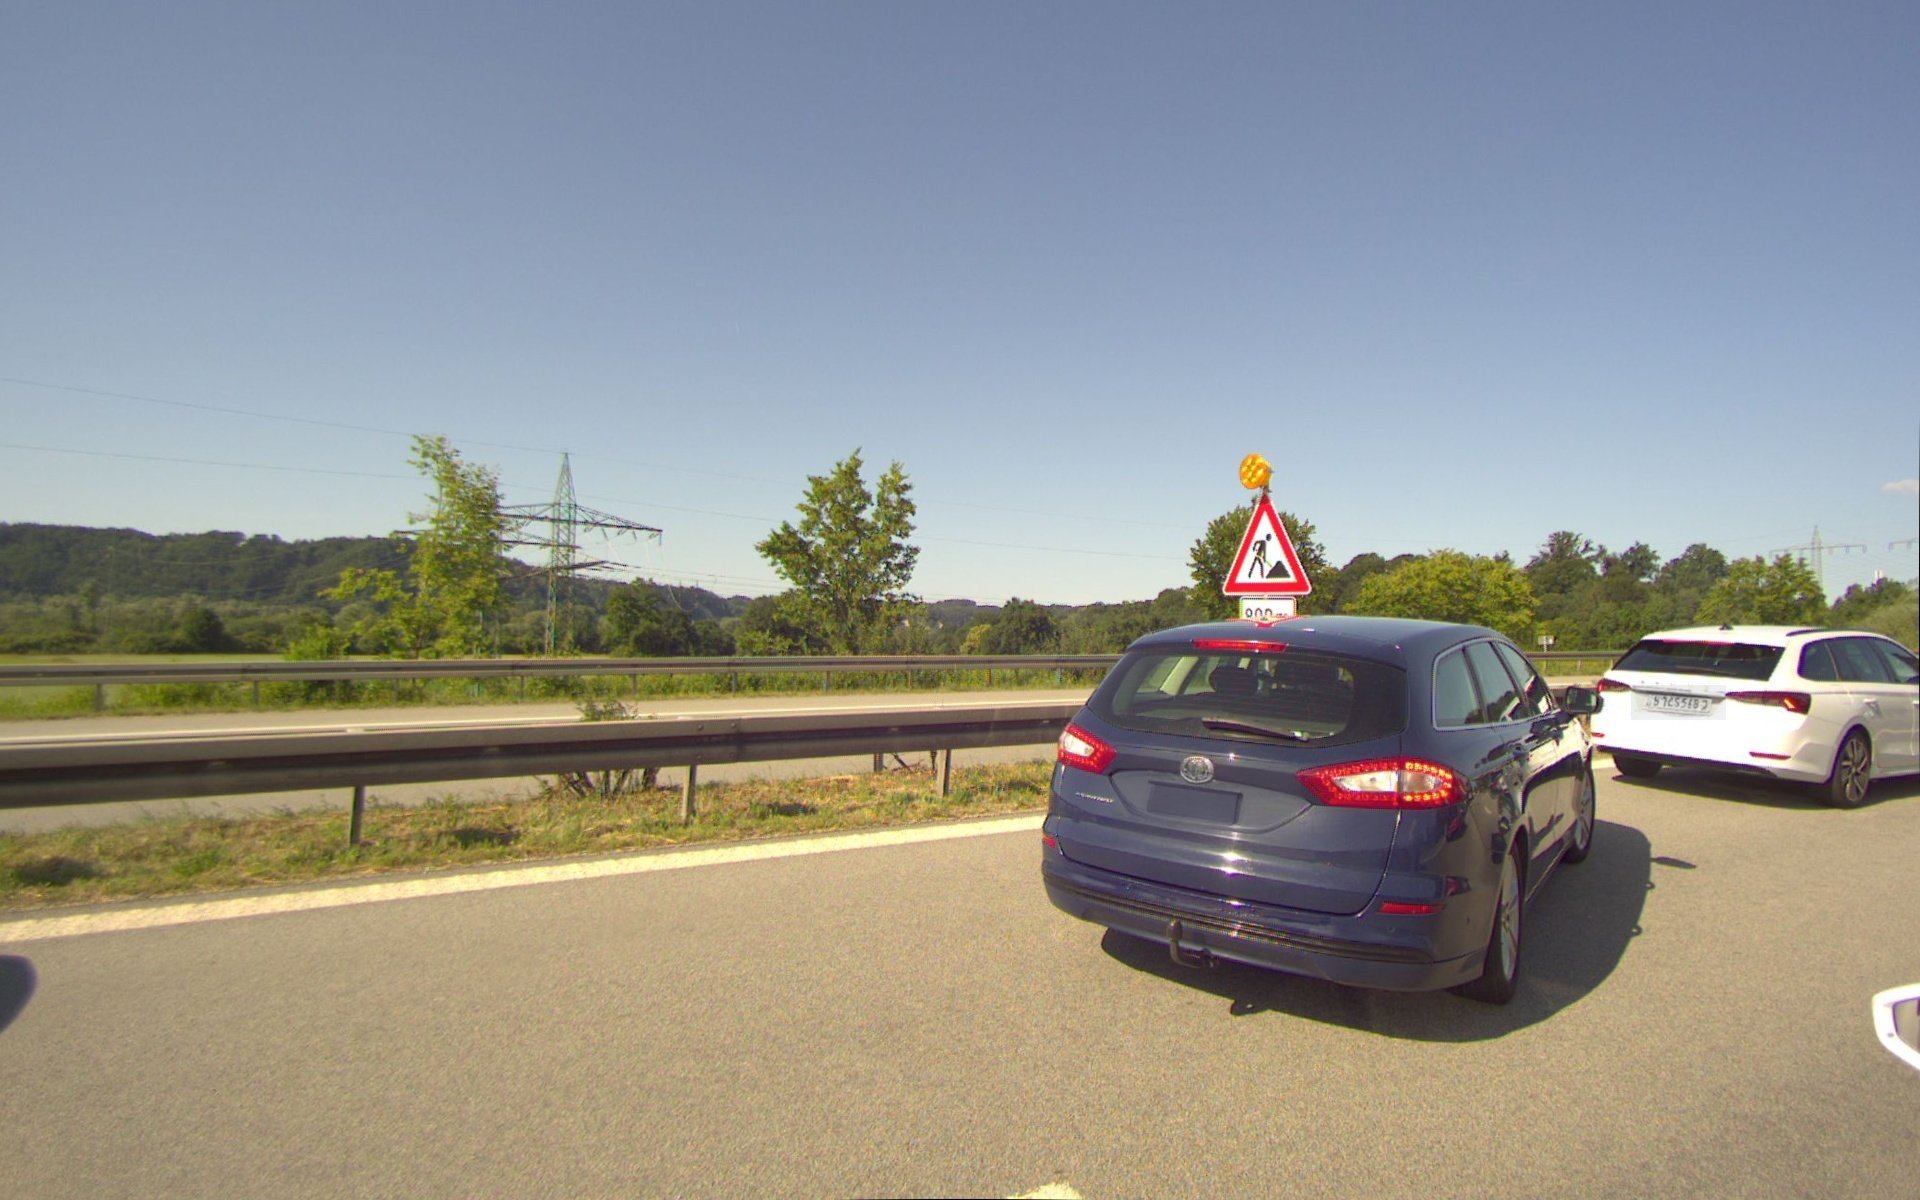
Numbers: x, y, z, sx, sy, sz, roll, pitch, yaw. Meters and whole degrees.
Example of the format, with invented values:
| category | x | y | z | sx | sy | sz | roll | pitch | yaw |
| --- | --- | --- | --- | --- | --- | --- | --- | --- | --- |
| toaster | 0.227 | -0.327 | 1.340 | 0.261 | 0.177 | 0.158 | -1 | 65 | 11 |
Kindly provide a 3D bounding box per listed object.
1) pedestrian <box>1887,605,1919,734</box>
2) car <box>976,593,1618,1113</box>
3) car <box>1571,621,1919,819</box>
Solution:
| category | x | y | z | sx | sy | sz | roll | pitch | yaw |
| --- | --- | --- | --- | --- | --- | --- | --- | --- | --- |
| pedestrian | 13.876 | 0.975 | 14.210 | 1.110 | 1.786 | 1.031 | 2 | -2 | -43 |
| car | 2.146 | 0.813 | 5.248 | 1.766 | 1.513 | 4.474 | 0 | -2 | 39 |
| car | 7.753 | 0.965 | 9.380 | 4.159 | 1.461 | 1.687 | 1 | 0 | -29 |
